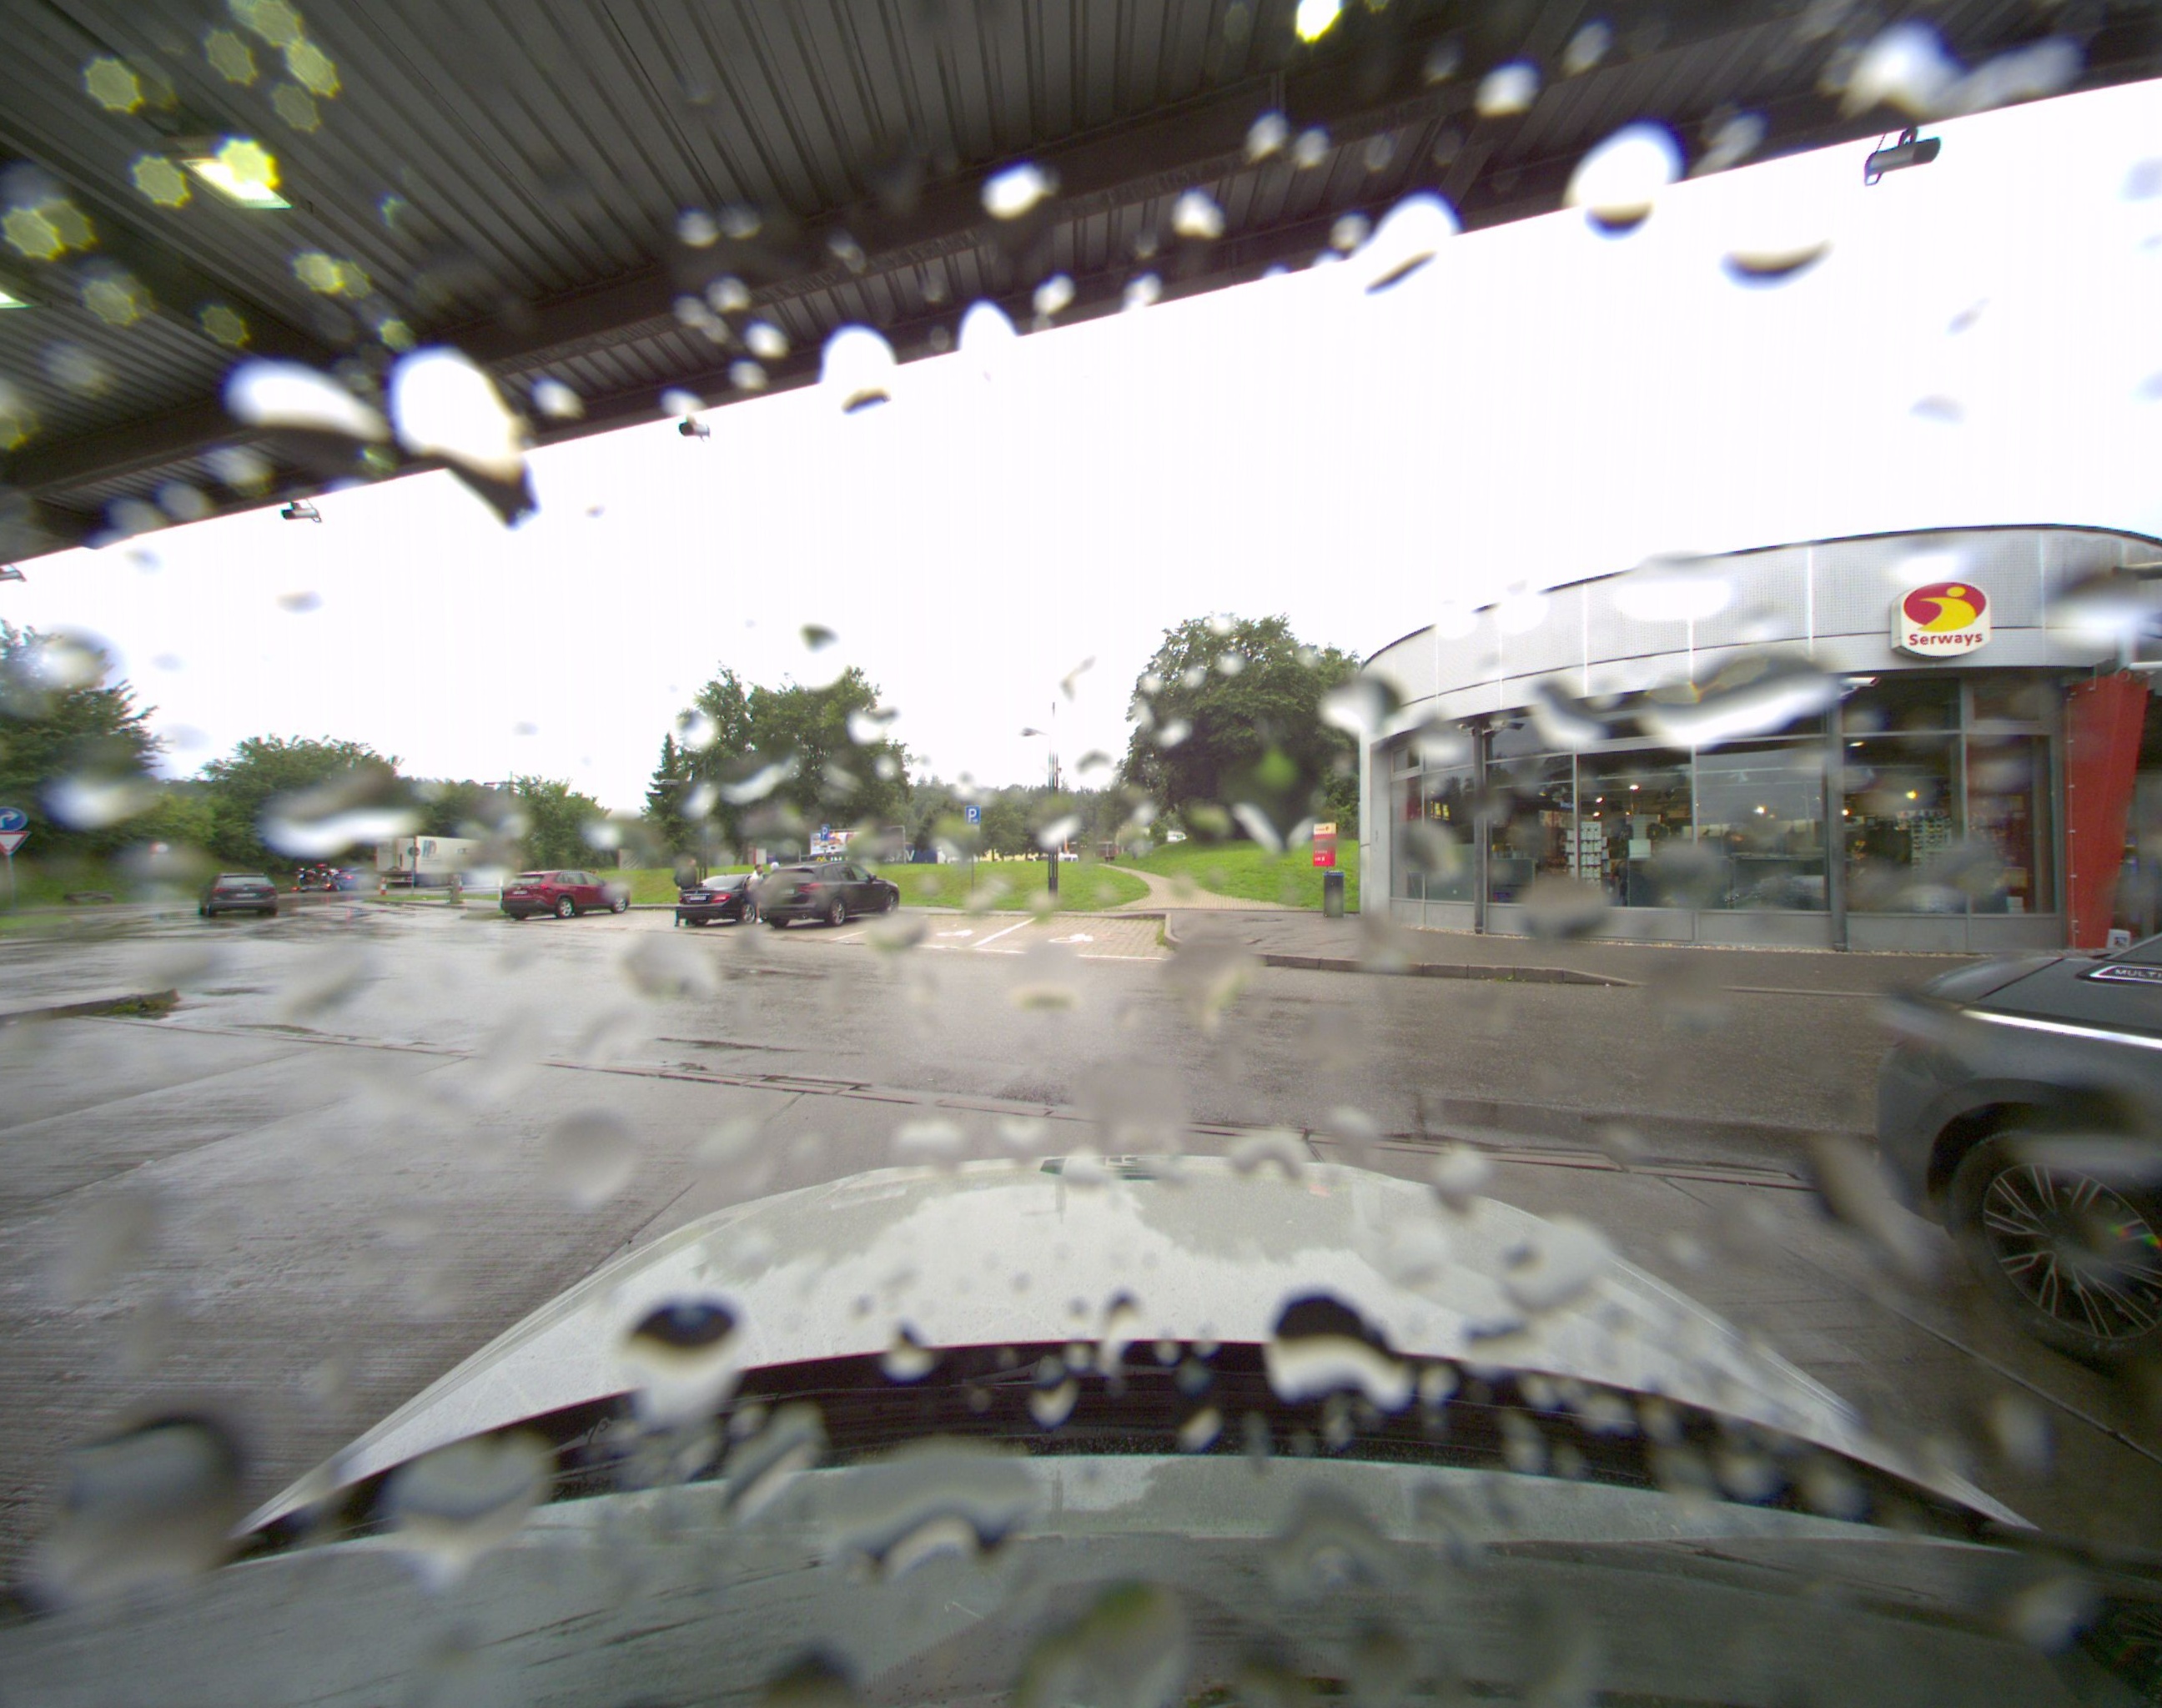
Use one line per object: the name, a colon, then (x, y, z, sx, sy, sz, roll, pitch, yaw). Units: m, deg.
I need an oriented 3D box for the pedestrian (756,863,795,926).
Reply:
pedestrian: (-8.132, 1.053, 21.682, 0.955, 1.631, 0.698, 0, -1, -23)

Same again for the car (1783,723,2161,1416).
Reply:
car: (3.680, 0.542, 0.688, 1.854, 1.798, 5.142, 0, -1, 2)

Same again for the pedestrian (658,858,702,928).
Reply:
pedestrian: (-11.078, 1.065, 22.504, 0.882, 1.887, 0.708, -1, -1, 24)

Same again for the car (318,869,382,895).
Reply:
car: (-50.338, 1.886, 56.183, 1.814, 1.681, 3.927, 0, -1, -18)

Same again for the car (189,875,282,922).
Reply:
car: (-32.794, 1.686, 31.578, 3.948, 1.678, 2.013, -2, -1, 37)

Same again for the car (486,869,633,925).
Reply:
car: (-18.131, 1.444, 28.603, 1.928, 1.644, 4.352, -2, 0, 7)

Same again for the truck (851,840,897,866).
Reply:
truck: (-24.179, -0.080, 95.466, 2.165, 2.920, 5.419, -1, -1, 27)

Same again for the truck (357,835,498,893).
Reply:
truck: (-55.439, 0.848, 69.988, 3.550, 4.340, 16.899, 0, -1, -18)

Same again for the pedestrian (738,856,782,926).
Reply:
pedestrian: (-8.815, 1.004, 22.405, 0.697, 1.887, 0.957, -1, -1, 12)

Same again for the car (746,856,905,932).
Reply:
car: (-6.643, 0.972, 21.791, 2.002, 1.711, 4.360, -2, 0, 14)

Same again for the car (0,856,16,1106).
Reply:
car: (-7.962, 0.802, 2.687, 1.854, 1.608, 5.273, 0, -1, 2)

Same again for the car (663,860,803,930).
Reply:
car: (-9.829, 1.083, 23.435, 2.010, 1.711, 4.344, -2, 0, 1)

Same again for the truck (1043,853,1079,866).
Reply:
truck: (-3.242, 0.885, 134.115, 5.356, 2.014, 2.381, -1, -1, 26)

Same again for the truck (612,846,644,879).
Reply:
truck: (-44.838, 0.813, 80.812, 2.491, 3.085, 7.291, 0, -1, -27)

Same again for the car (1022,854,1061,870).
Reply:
car: (-4.528, 0.910, 93.400, 4.153, 1.783, 1.825, 0, -1, -34)

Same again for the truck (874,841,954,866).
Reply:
truck: (-20.747, -0.048, 102.357, 2.165, 2.920, 13.175, -1, -1, 26)
